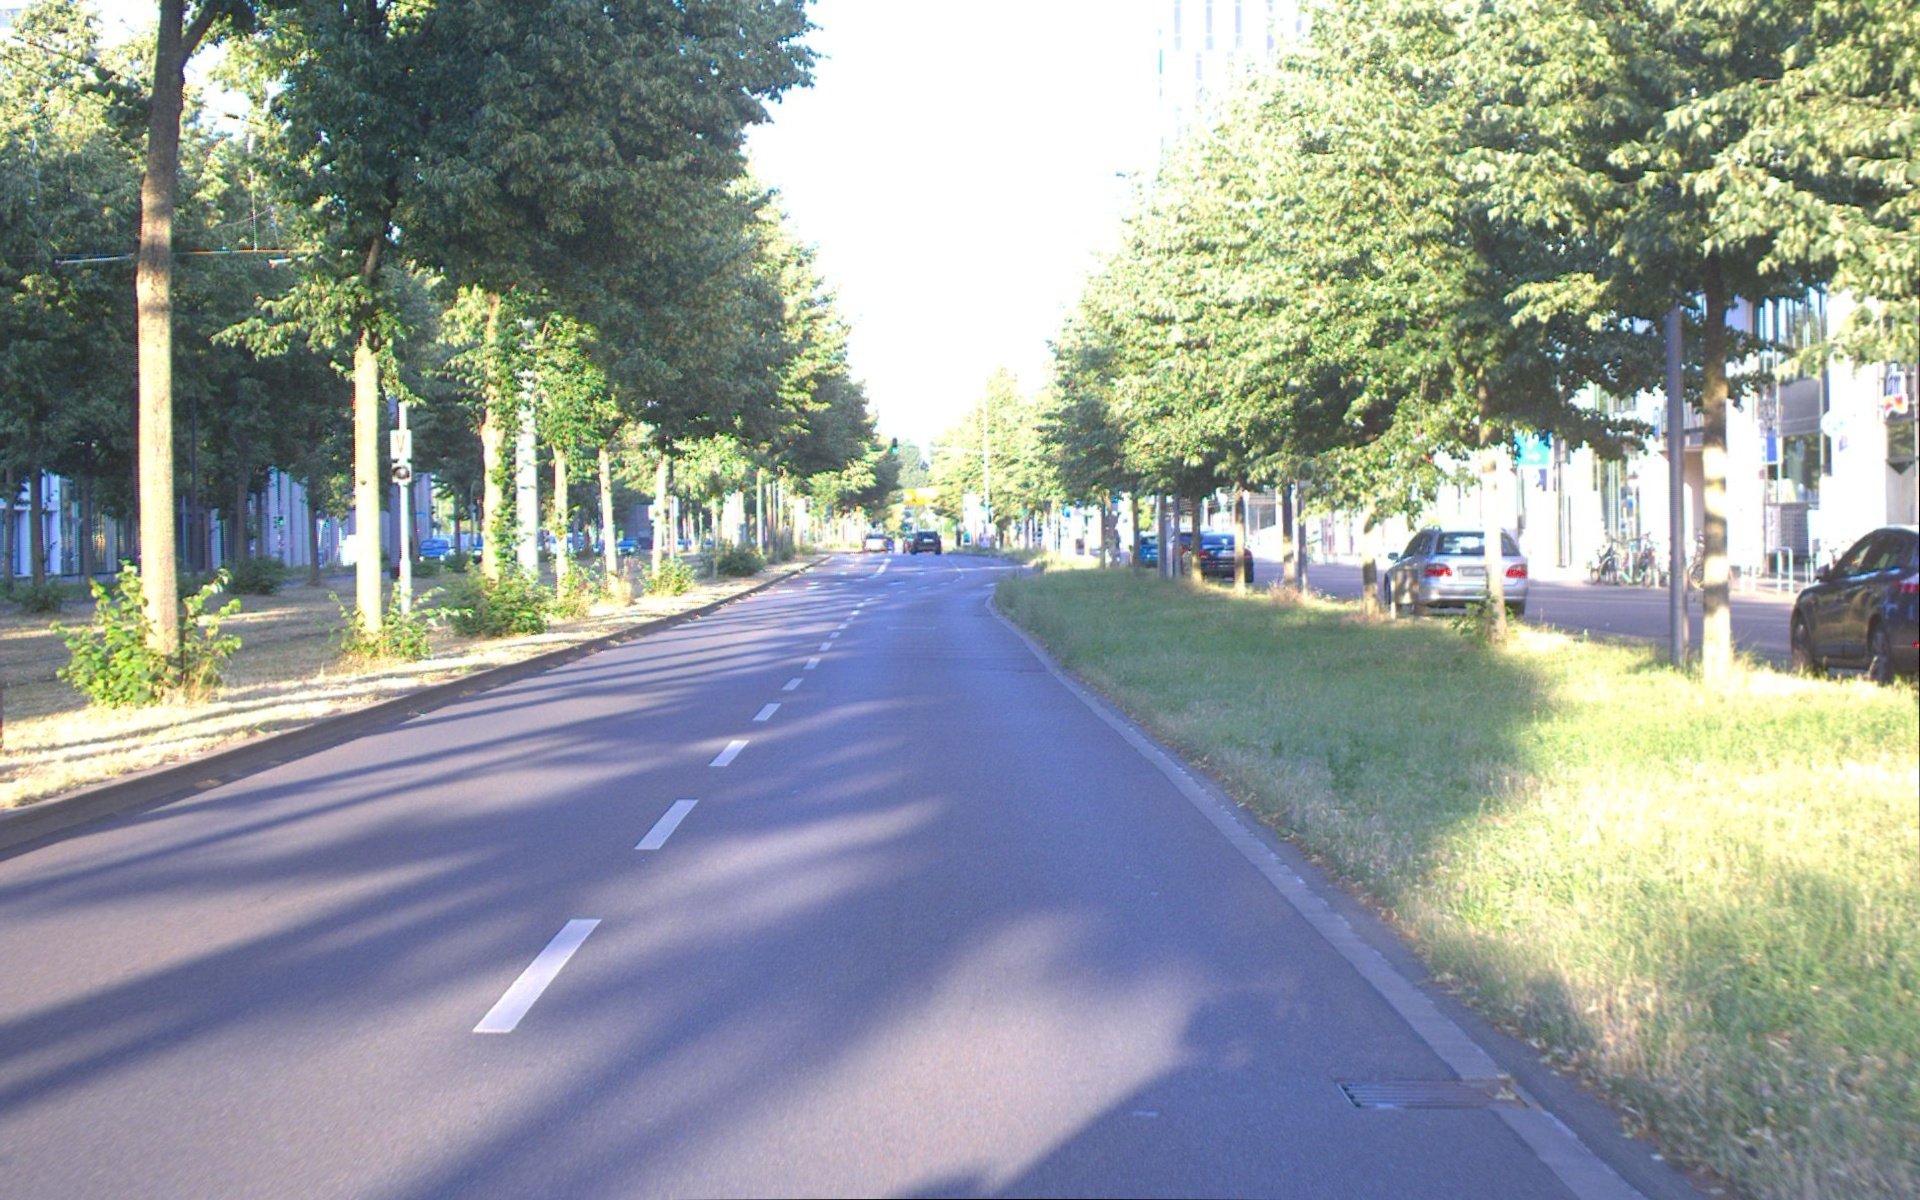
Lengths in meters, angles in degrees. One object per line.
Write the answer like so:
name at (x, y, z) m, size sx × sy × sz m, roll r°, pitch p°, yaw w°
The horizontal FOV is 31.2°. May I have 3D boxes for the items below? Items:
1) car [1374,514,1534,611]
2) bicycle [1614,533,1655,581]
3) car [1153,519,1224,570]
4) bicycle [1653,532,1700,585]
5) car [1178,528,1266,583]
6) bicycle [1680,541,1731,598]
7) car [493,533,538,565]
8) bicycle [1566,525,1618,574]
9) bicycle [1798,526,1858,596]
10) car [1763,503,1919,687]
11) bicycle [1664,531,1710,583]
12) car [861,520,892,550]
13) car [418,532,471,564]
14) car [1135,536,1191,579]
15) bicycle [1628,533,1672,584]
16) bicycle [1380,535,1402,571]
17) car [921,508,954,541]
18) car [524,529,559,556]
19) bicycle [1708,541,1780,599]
car at (8.028, -0.645, 56.273) m, size 1.808 × 1.495 × 4.826 m, roll -1°, pitch 1°, yaw -1°
bicycle at (15.022, -0.960, 76.577) m, size 0.533 × 1.057 × 1.857 m, roll -1°, pitch 1°, yaw 0°
car at (7.121, -1.737, 107.532) m, size 1.854 × 1.524 × 4.483 m, roll 1°, pitch 1°, yaw -1°
bicycle at (14.782, -0.867, 70.968) m, size 0.533 × 1.057 × 1.857 m, roll -3°, pitch 1°, yaw 0°
car at (7.599, -1.317, 100.150) m, size 1.943 × 1.543 × 4.812 m, roll -1°, pitch 1°, yaw -3°
bicycle at (14.583, -0.603, 67.248) m, size 0.533 × 1.057 × 1.857 m, roll -3°, pitch 1°, yaw 0°
car at (-22.908, -2.638, 177.355) m, size 1.885 × 1.572 × 4.183 m, roll -1°, pitch 1°, yaw -2°
bicycle at (14.231, -1.142, 77.458) m, size 0.533 × 1.057 × 1.781 m, roll -3°, pitch 1°, yaw -10°
bicycle at (15.106, -0.688, 59.845) m, size 0.538 × 1.160 × 1.781 m, roll -3°, pitch 1°, yaw 0°
car at (8.410, -0.084, 30.096) m, size 1.724 × 1.495 × 4.233 m, roll 0°, pitch 1°, yaw 0°
bicycle at (15.424, -0.923, 72.955) m, size 0.533 × 1.057 × 1.857 m, roll -3°, pitch 1°, yaw 0°
car at (-5.588, -4.352, 230.095) m, size 2.087 × 2.007 × 4.001 m, roll -1°, pitch 1°, yaw -1°
car at (-24.733, -2.503, 165.015) m, size 1.918 × 1.503 × 4.287 m, roll -1°, pitch 1°, yaw -1°
car at (7.443, -1.571, 126.301) m, size 1.724 × 1.524 × 4.269 m, roll 1°, pitch 1°, yaw -1°
bicycle at (14.860, -0.904, 74.080) m, size 0.533 × 1.057 × 1.857 m, roll -3°, pitch 1°, yaw 0°
bicycle at (14.237, -1.555, 113.607) m, size 0.571 × 1.120 × 1.833 m, roll -2°, pitch 1°, yaw 11°
car at (-1.405, -4.732, 214.529) m, size 1.993 × 2.007 × 4.001 m, roll -1°, pitch 1°, yaw -1°
car at (-24.216, -3.323, 199.133) m, size 1.833 × 1.485 × 3.508 m, roll -1°, pitch 1°, yaw -4°
bicycle at (14.858, -0.573, 65.162) m, size 0.533 × 1.057 × 1.857 m, roll -3°, pitch 1°, yaw -13°
